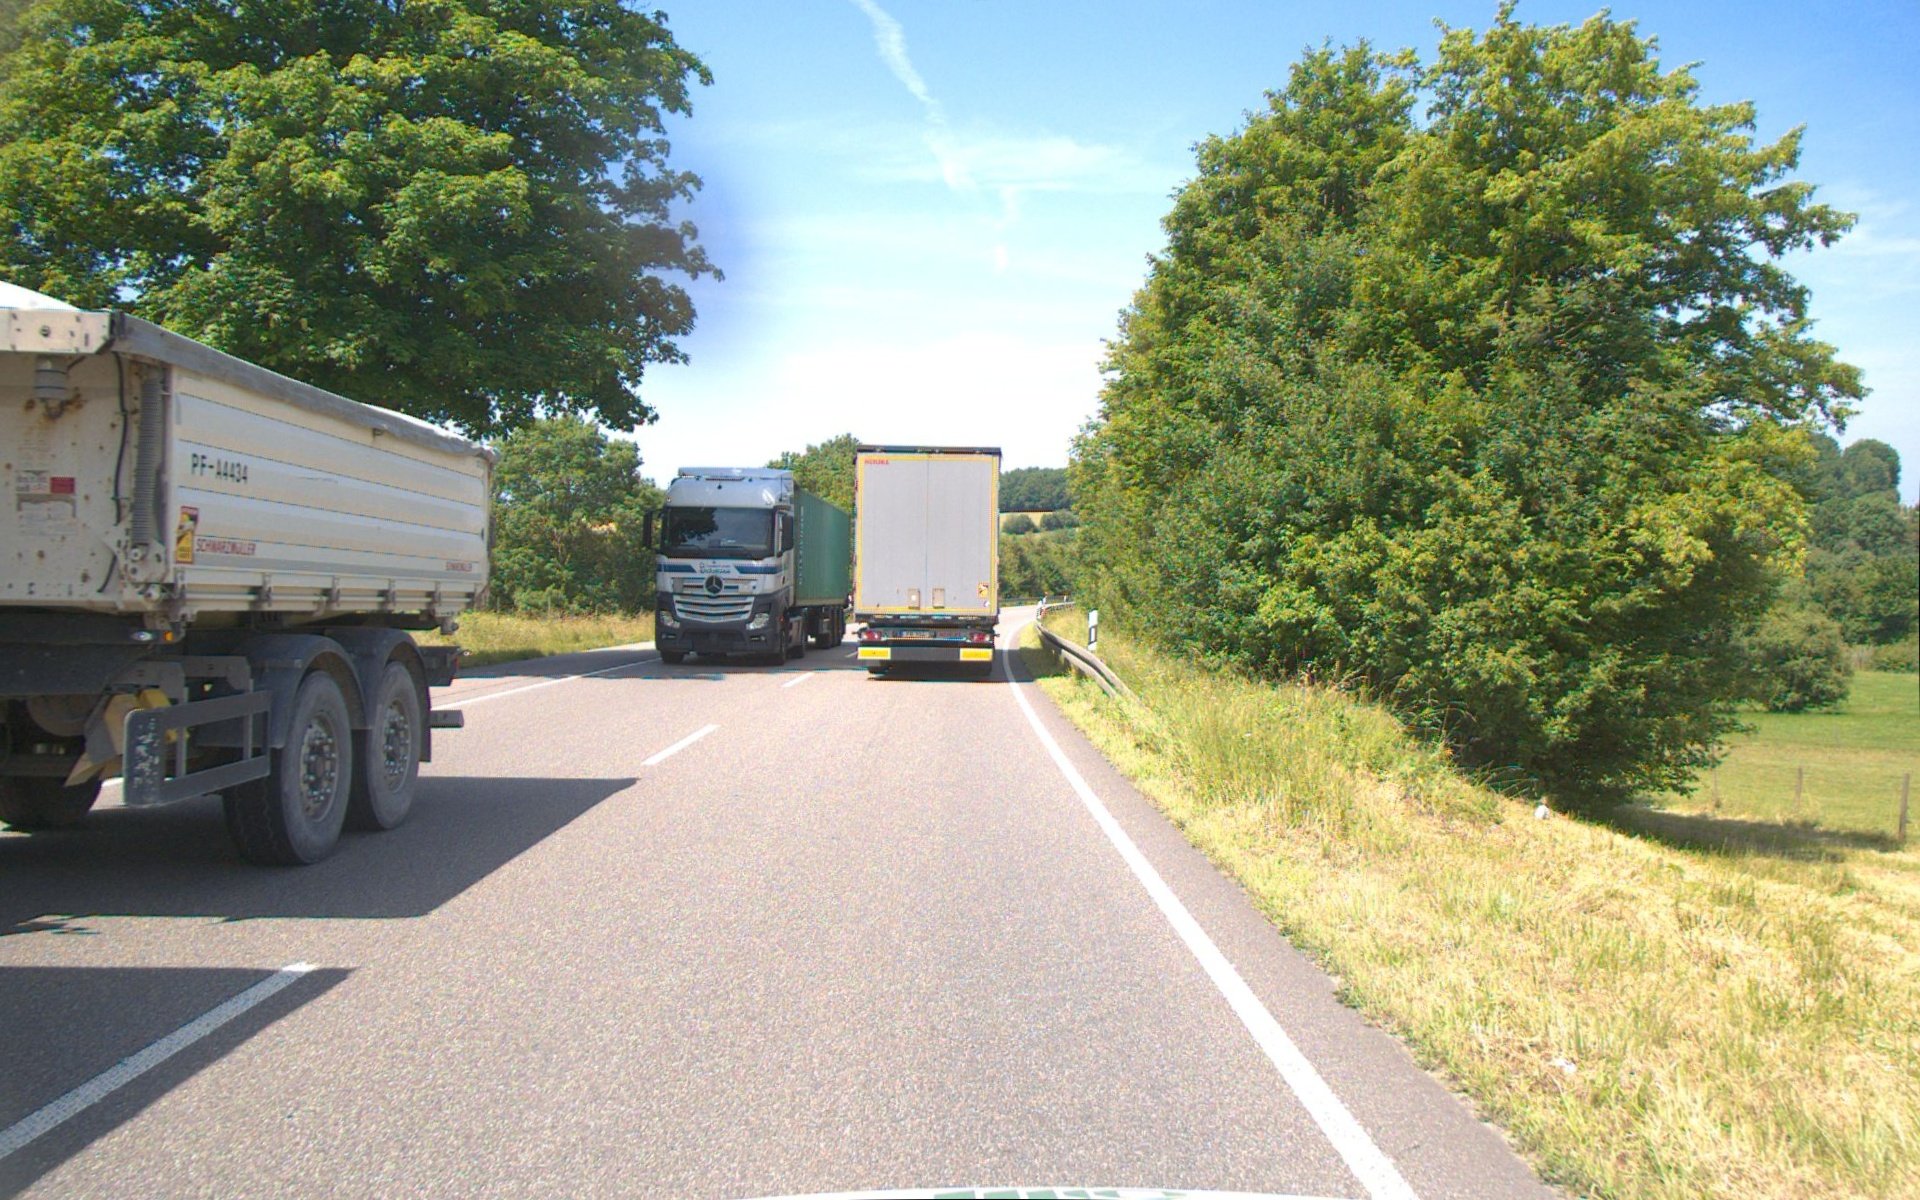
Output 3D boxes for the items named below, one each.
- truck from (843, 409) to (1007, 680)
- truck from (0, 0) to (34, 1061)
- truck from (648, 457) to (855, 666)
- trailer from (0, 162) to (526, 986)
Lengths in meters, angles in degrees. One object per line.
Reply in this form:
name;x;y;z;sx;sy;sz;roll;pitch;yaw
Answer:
truck;-0.612;-1.004;34.193;2.760;4.611;11.767;1;0;0
truck;-4.401;-0.263;1.837;2.479;3.622;7.759;0;0;-1
truck;-4.602;-0.815;40.455;2.507;4.008;16.164;2;1;1
trailer;-4.628;-0.099;9.363;2.590;2.923;7.075;0;0;-1
